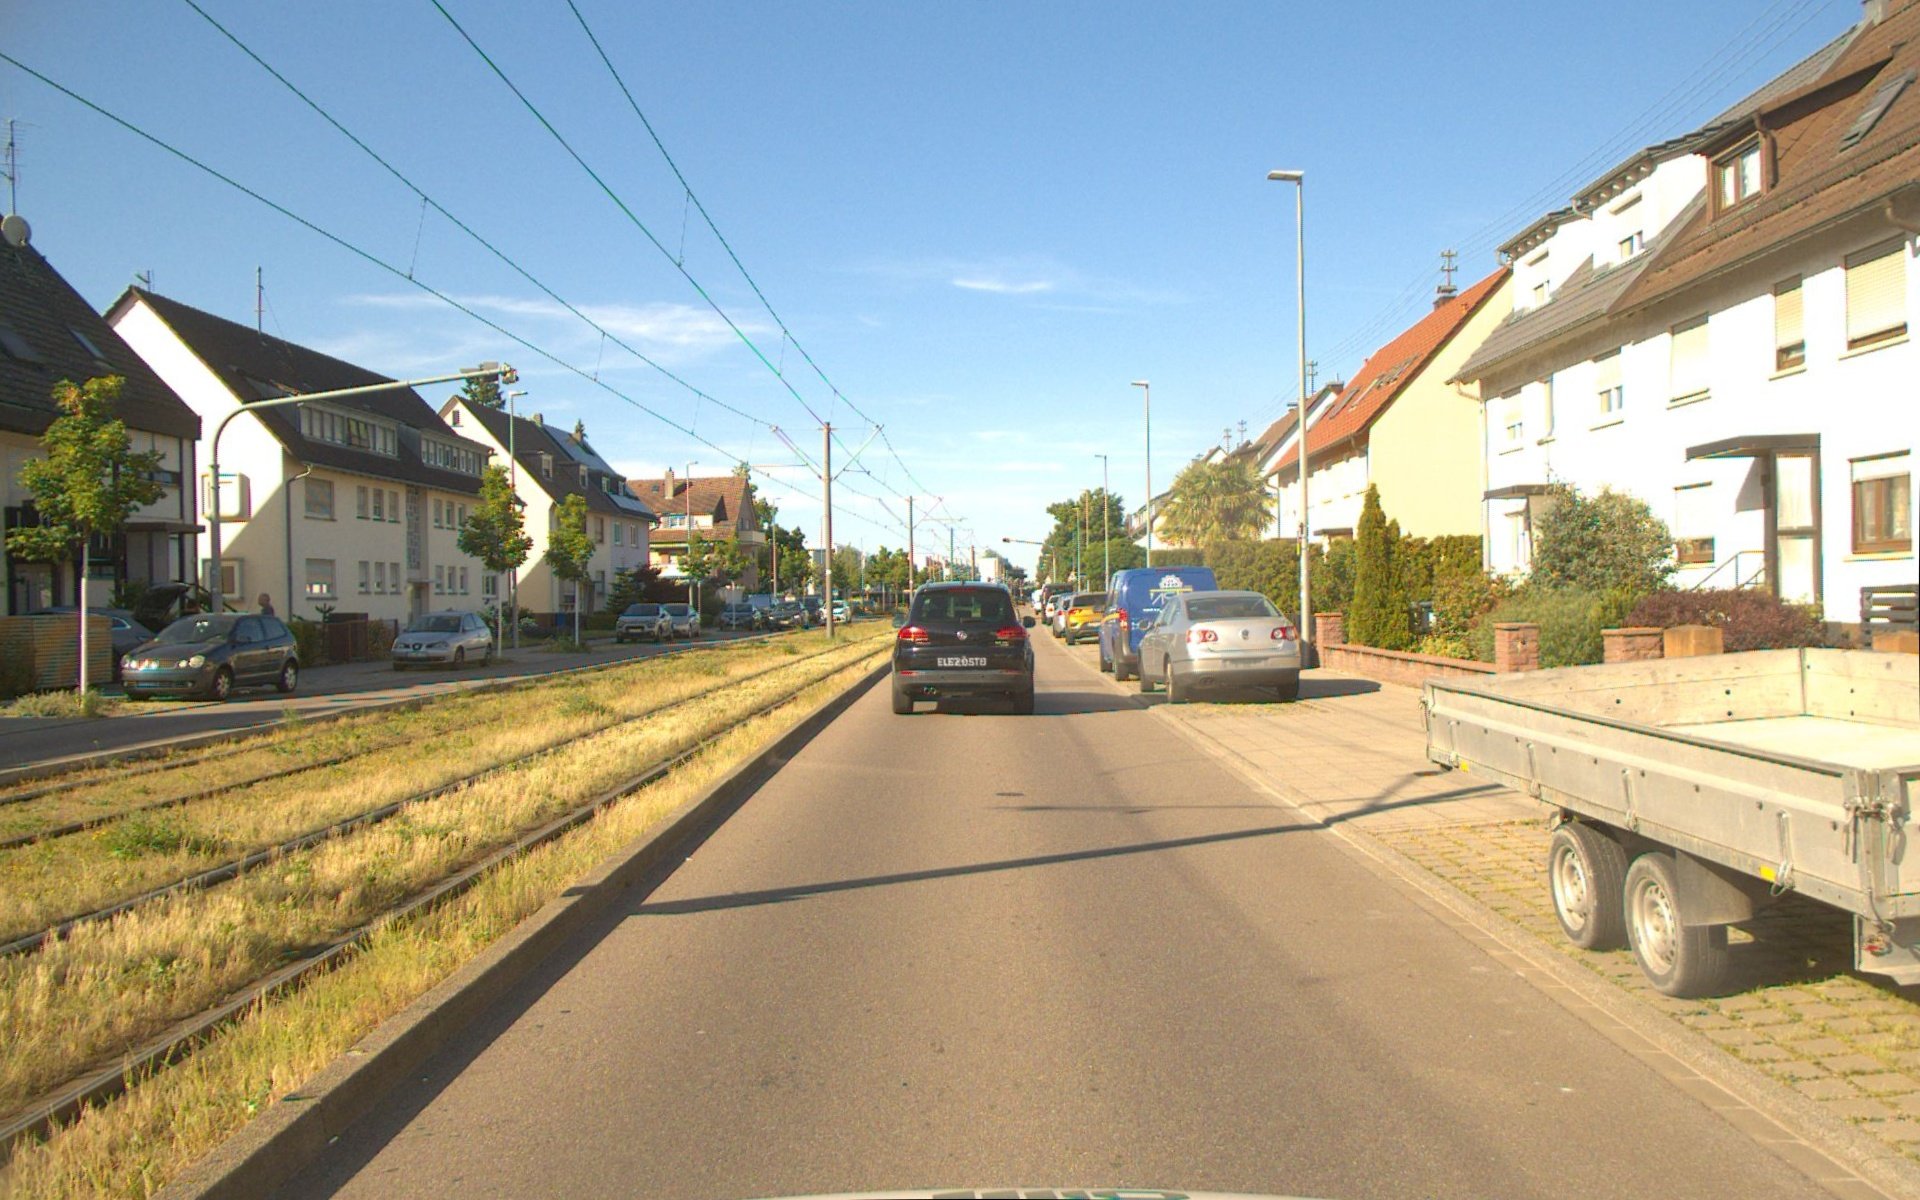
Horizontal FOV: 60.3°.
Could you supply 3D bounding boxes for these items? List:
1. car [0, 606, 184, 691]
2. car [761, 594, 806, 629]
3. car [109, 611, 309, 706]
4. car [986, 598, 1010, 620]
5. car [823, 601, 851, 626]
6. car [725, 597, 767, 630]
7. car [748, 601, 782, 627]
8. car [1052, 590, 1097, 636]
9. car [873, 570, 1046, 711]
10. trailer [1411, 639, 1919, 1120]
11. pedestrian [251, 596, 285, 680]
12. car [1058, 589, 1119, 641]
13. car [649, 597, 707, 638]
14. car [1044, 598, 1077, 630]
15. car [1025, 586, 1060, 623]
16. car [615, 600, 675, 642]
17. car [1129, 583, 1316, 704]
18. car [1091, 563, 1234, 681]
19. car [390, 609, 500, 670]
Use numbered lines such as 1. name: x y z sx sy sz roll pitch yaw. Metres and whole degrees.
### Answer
1. car: -18.159 0.979 33.704 3.828 1.595 1.732 -2 0 -7
2. car: -9.098 0.620 85.465 1.835 1.684 3.999 -1 -2 0
3. car: -13.151 0.980 29.196 1.584 1.478 3.720 -2 0 4
4. car: 2.541 0.594 111.161 1.540 1.415 3.614 -1 0 0
5. car: -7.511 0.817 100.965 1.435 1.479 3.287 -1 -1 0
6. car: -11.273 0.727 87.287 1.626 1.609 3.999 -1 -2 0
7. car: -10.954 0.754 93.183 1.484 1.385 3.589 -2 0 -1
8. car: 4.082 0.448 59.257 1.421 1.579 3.830 -1 0 1
9. car: -0.110 0.513 22.214 1.777 1.700 4.250 1 -1 -7
10. trailer: 3.565 0.815 6.739 2.159 1.113 4.370 -3 0 -1
11. pedestrian: -14.848 0.808 35.487 0.459 1.776 0.535 -1 0 -1
12. car: 3.996 0.464 51.932 1.611 1.561 3.864 -1 0 0
13. car: -12.114 0.726 71.250 1.766 1.660 4.000 -1 0 0
14. car: 4.937 0.662 81.450 1.412 1.503 3.865 -1 0 1
15. car: 4.394 0.240 88.608 1.733 1.876 3.865 -1 0 1
16. car: -12.346 0.805 65.090 1.625 1.523 3.579 -2 0 0
17. car: 3.607 0.563 23.494 1.750 1.466 4.457 -3 0 -2
18. car: 3.547 0.365 29.867 1.953 1.894 4.917 -1 0 0
19. car: -13.002 1.001 41.946 1.585 1.434 3.717 -1 -2 0
